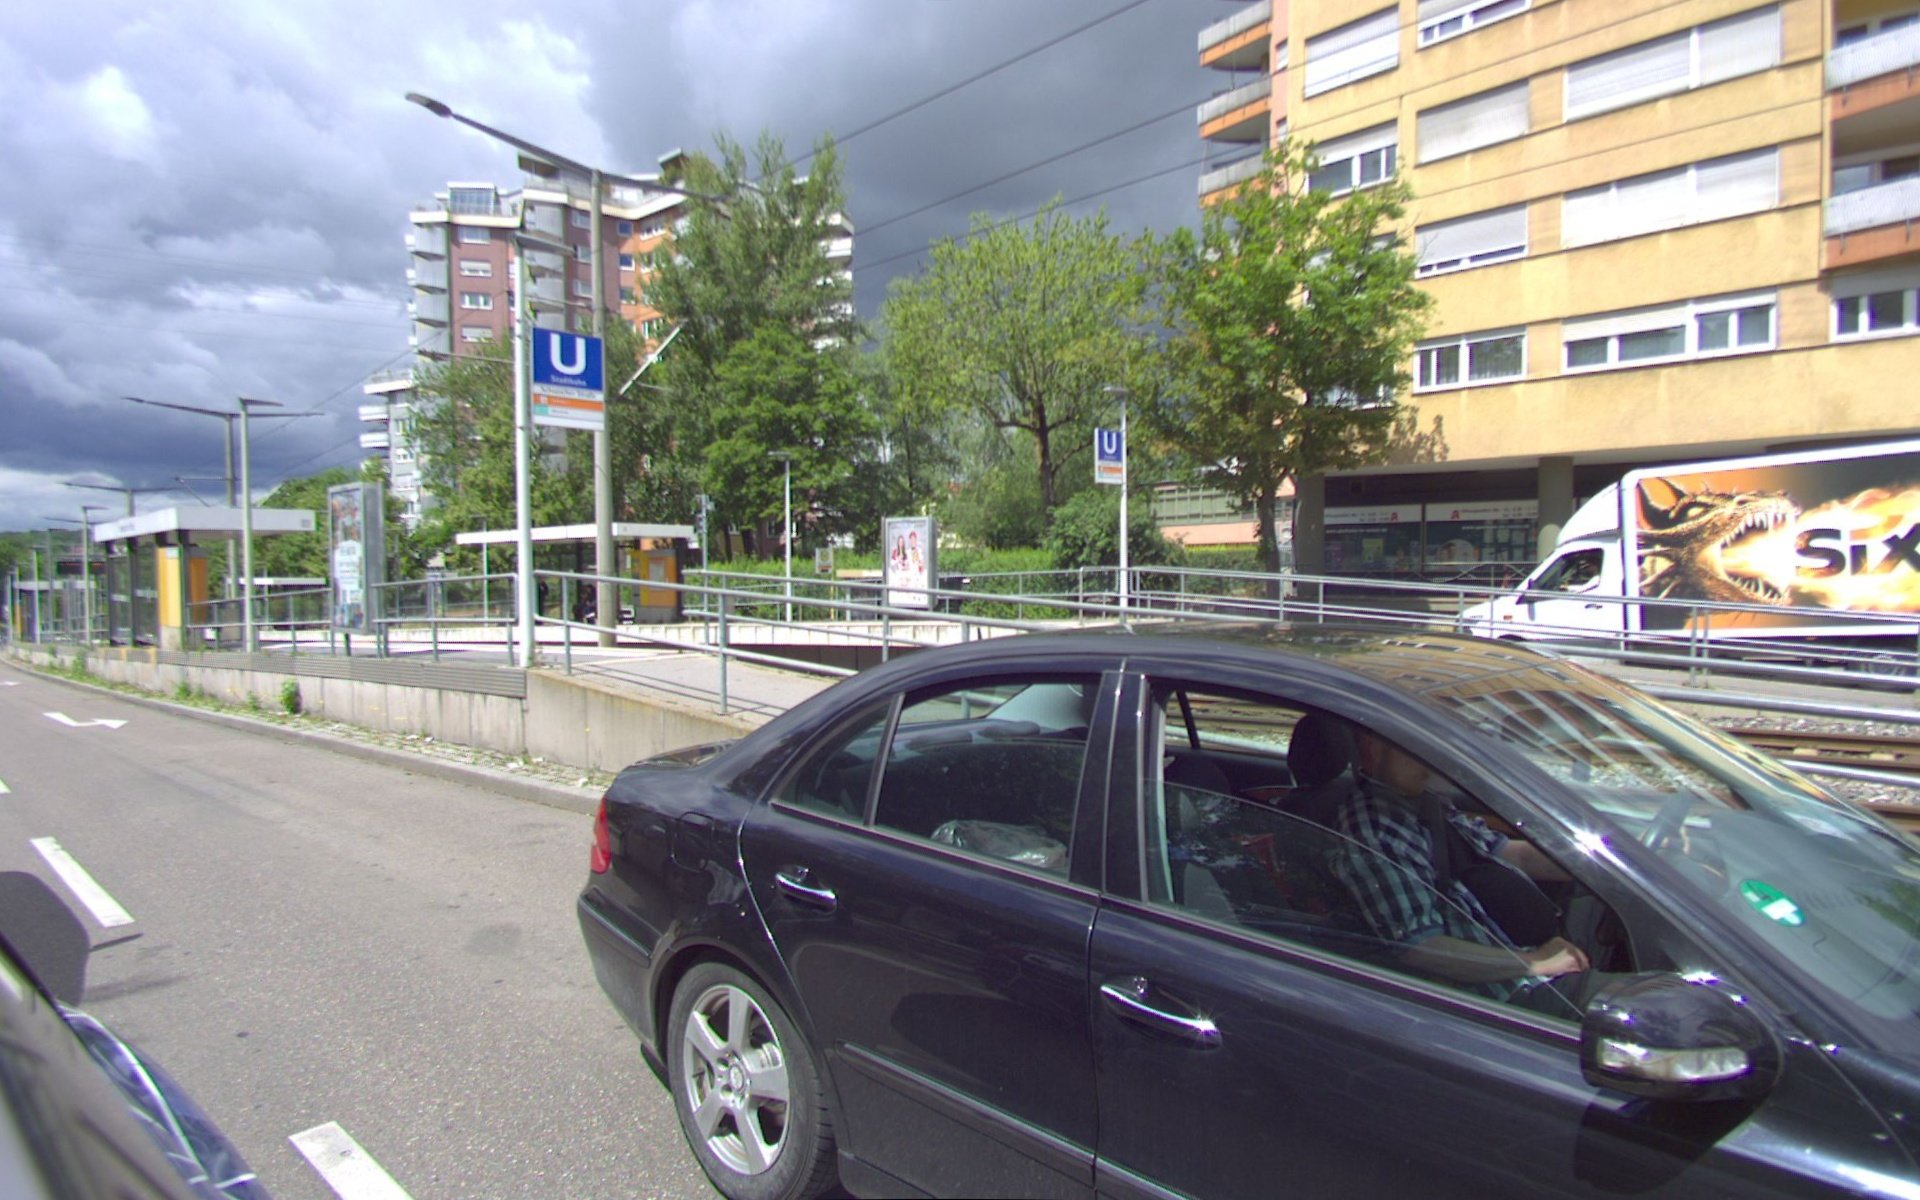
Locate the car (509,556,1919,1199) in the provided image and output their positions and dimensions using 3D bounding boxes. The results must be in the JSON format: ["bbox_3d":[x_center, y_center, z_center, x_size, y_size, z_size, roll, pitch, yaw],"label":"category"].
[{"bbox_3d":[0.913,0.692,2.177,4.542,1.472,1.710,-1,0,42],"label":"car"}]

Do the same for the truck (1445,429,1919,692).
[{"bbox_3d":[11.242,-0.447,14.558,7.256,3.247,2.390,-2,-1,40],"label":"truck"}]
